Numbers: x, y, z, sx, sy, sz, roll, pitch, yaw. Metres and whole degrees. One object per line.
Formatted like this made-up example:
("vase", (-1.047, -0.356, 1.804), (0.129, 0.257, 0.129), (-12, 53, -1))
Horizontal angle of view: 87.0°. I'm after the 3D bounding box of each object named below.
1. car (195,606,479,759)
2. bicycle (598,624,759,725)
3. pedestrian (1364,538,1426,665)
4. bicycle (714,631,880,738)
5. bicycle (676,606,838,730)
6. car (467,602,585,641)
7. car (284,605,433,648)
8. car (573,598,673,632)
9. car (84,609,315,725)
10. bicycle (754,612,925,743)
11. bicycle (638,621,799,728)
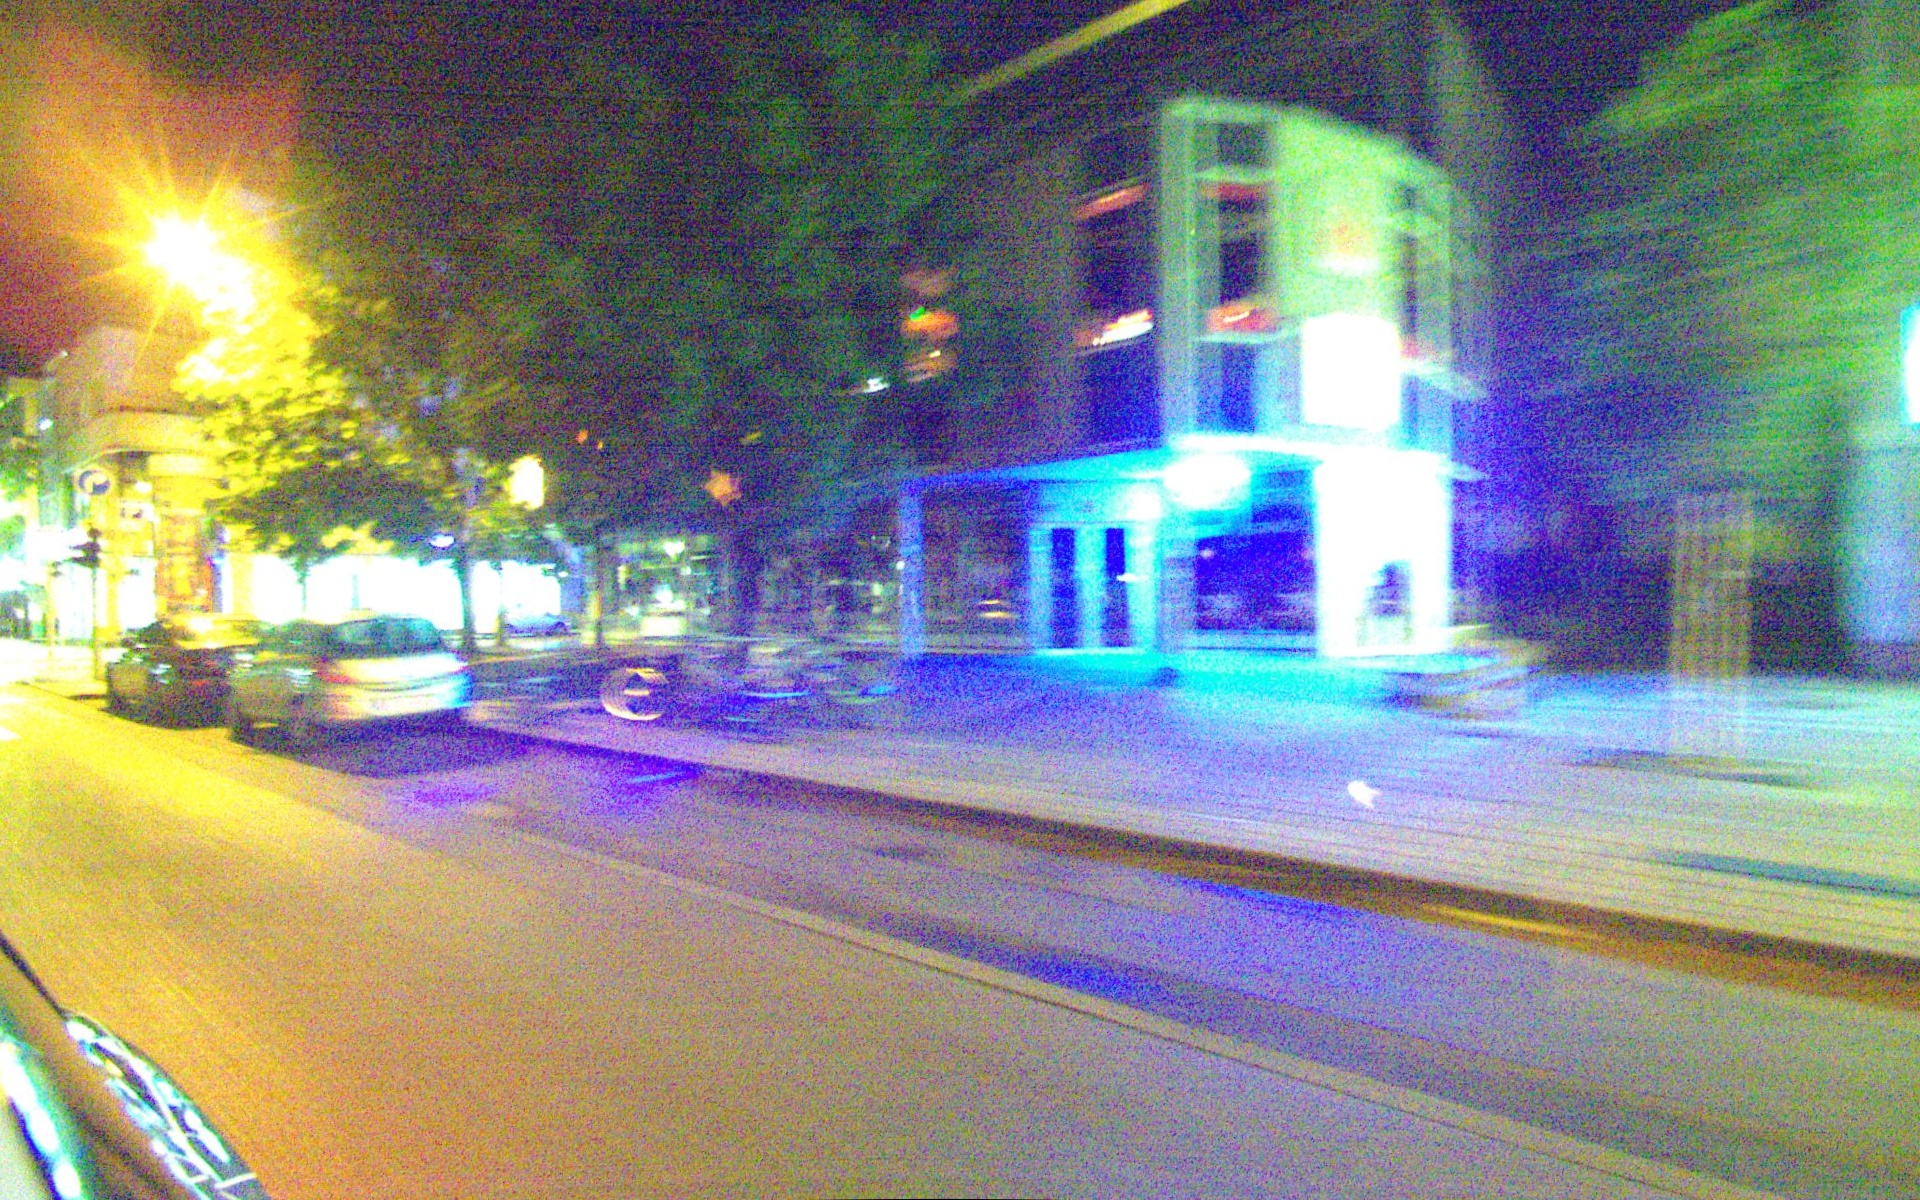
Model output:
("car", (-7.463, 0.847, 11.983), (3.974, 1.439, 1.704), (-1, 2, 41))
("bicycle", (-3.308, 0.842, 12.042), (0.532, 1.007, 1.832), (-1, 1, 40))
("pedestrian", (5.780, 0.022, 13.449), (0.632, 1.649, 0.473), (-1, -1, 41))
("bicycle", (-1.657, 0.840, 10.572), (0.501, 0.975, 1.832), (-1, -1, 40))
("bicycle", (-2.212, 0.702, 11.244), (0.532, 1.263, 1.832), (-1, -1, 40))
("car", (-17.707, 0.842, 41.418), (1.802, 1.448, 4.094), (-1, 0, 39))
("car", (-21.618, 0.912, 36.508), (1.802, 1.408, 4.285), (-1, 0, 39))
("car", (-14.984, 0.652, 45.103), (1.802, 1.406, 3.859), (-1, 0, 39))
("car", (-11.728, 0.906, 15.467), (4.918, 1.435, 1.788), (-1, 2, 41))
("bicycle", (-1.164, 0.719, 10.134), (0.532, 1.175, 1.832), (-1, -1, 40))
("bicycle", (-2.743, 0.813, 11.672), (0.532, 1.043, 1.832), (-1, 1, 40))
